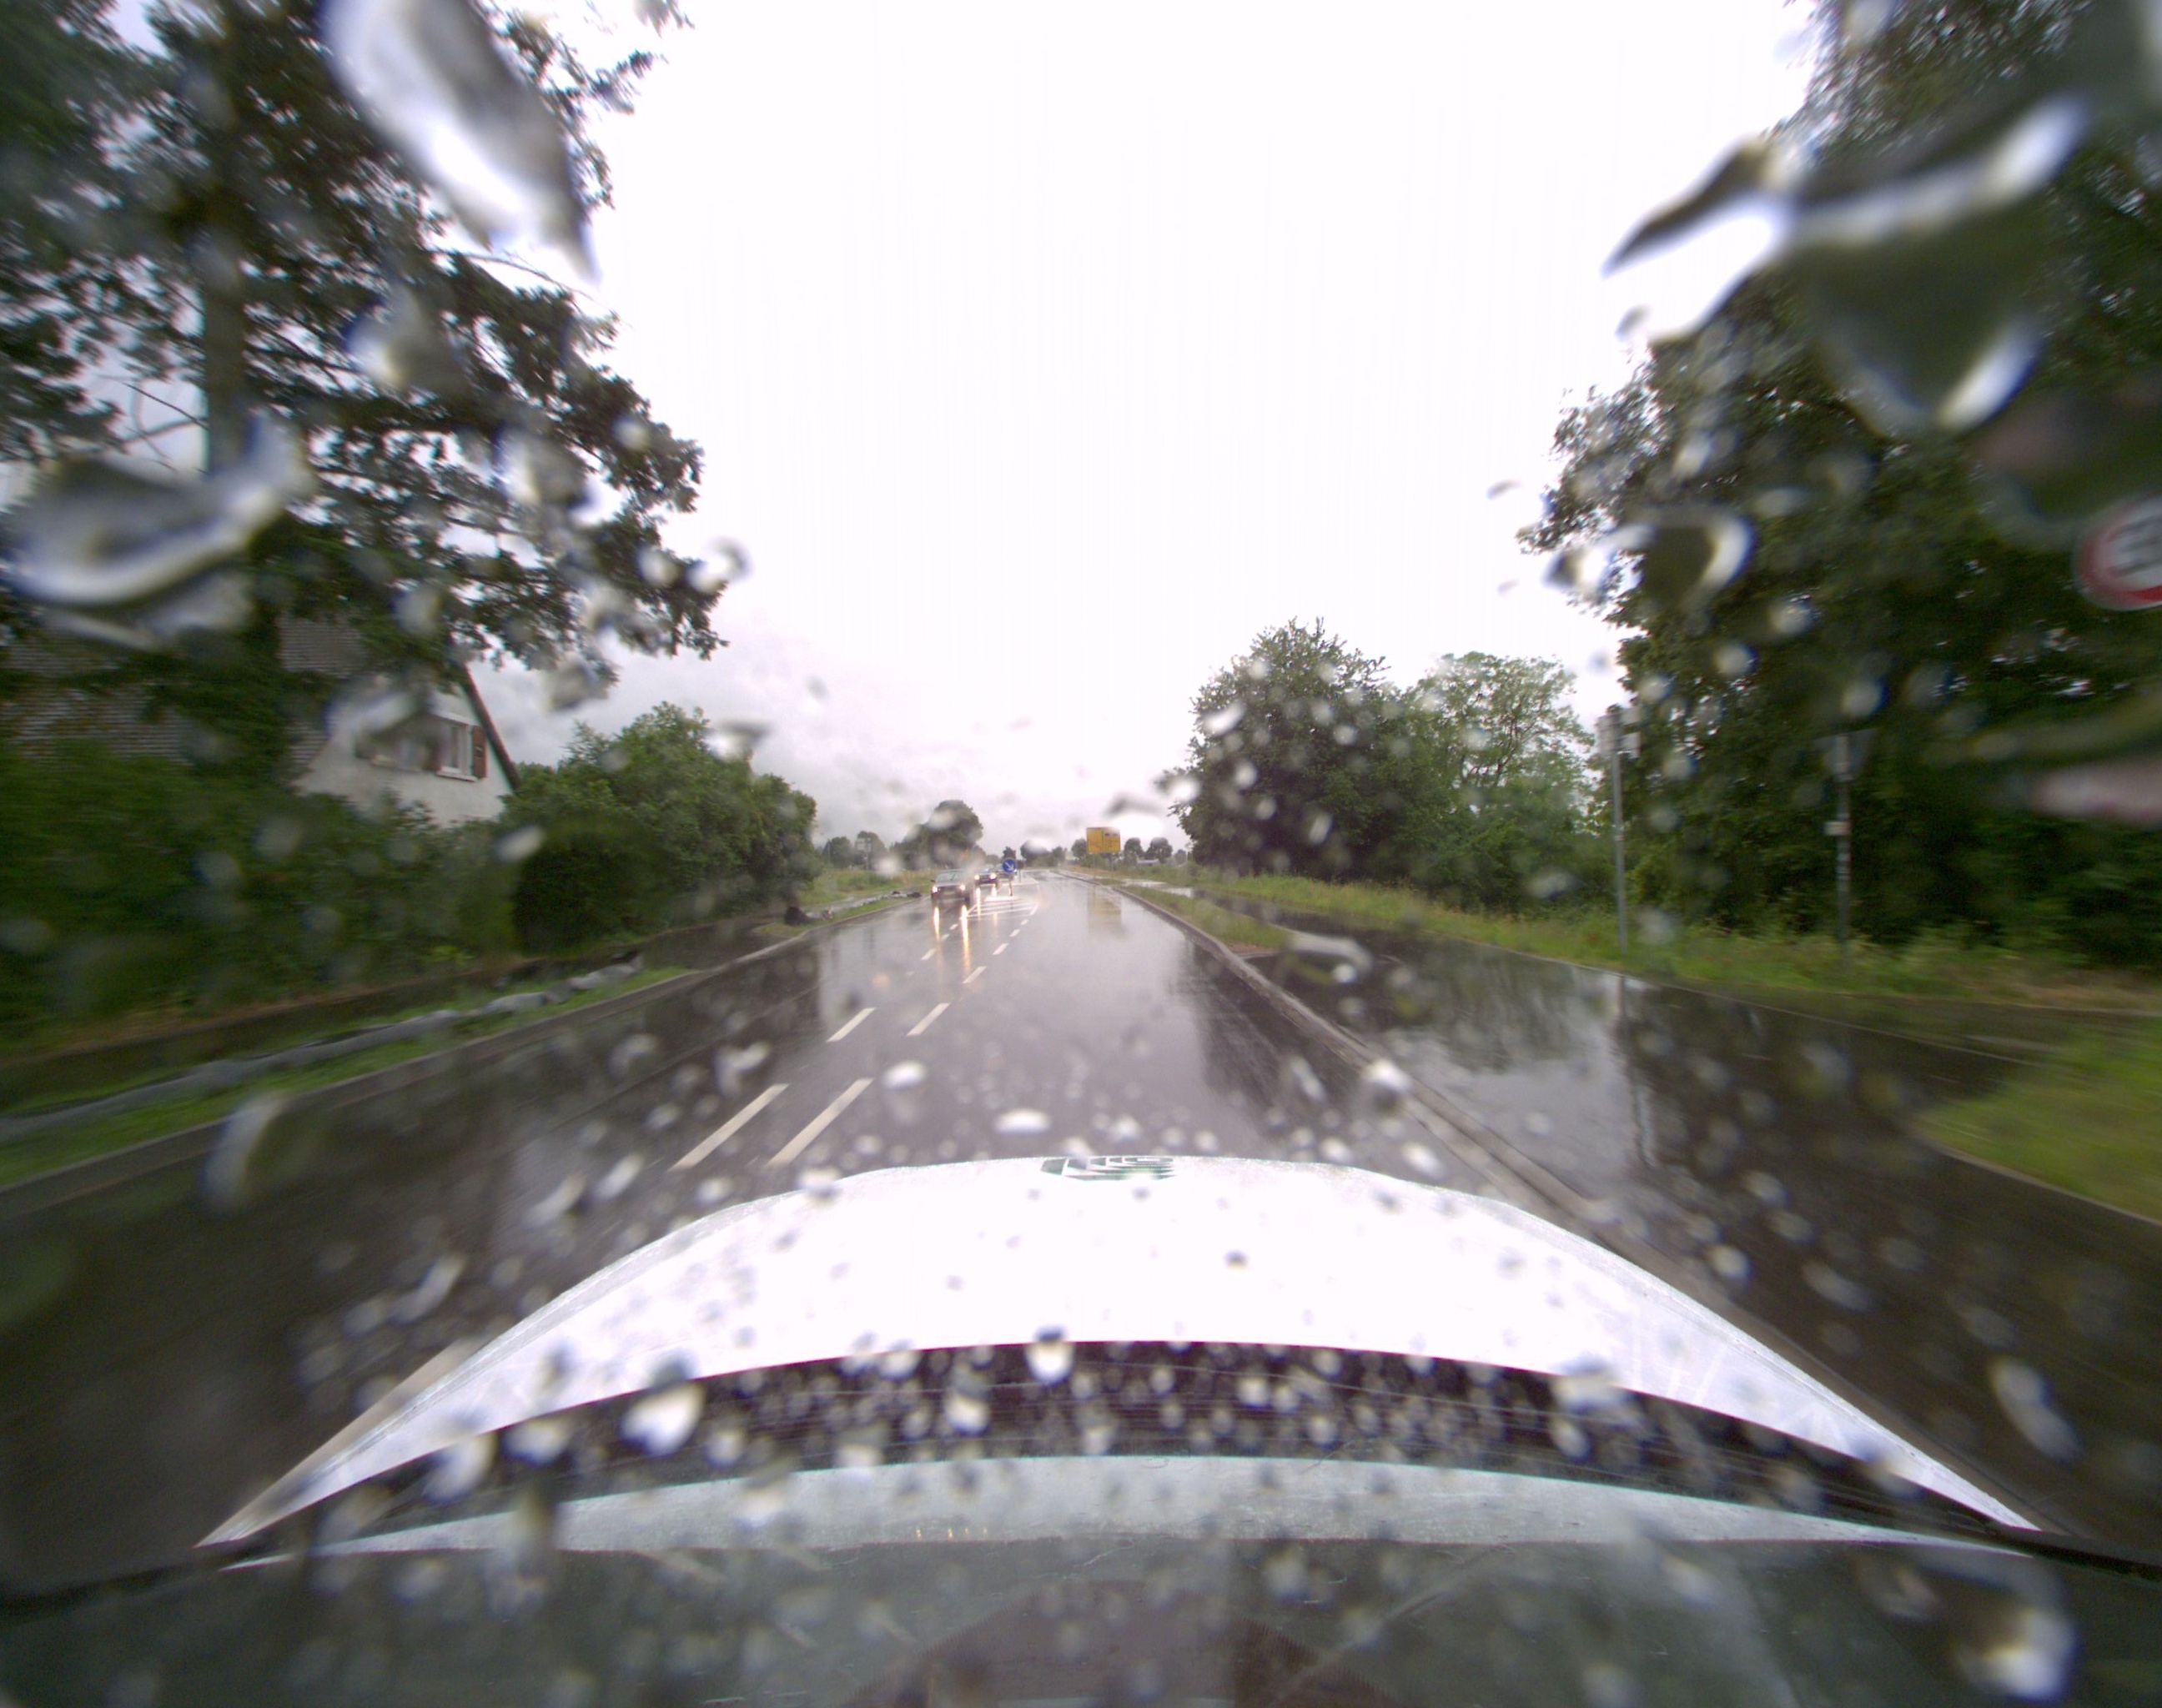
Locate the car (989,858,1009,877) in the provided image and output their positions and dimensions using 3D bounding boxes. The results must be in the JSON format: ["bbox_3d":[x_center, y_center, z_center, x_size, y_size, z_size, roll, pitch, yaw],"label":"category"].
[{"bbox_3d":[-7.988,1.303,79.049,1.740,1.718,4.255,-4,0,-8],"label":"car"}]

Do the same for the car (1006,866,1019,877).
[{"bbox_3d":[-9.889,2.533,117.501,1.693,1.402,3.763,-4,-1,-3],"label":"car"}]

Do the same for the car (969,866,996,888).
[{"bbox_3d":[-7.295,1.664,60.590,1.739,1.445,3.675,-4,0,-5],"label":"car"}]

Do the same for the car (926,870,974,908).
[{"bbox_3d":[-5.703,1.483,35.757,1.680,1.382,4.217,-4,0,-5],"label":"car"}]
